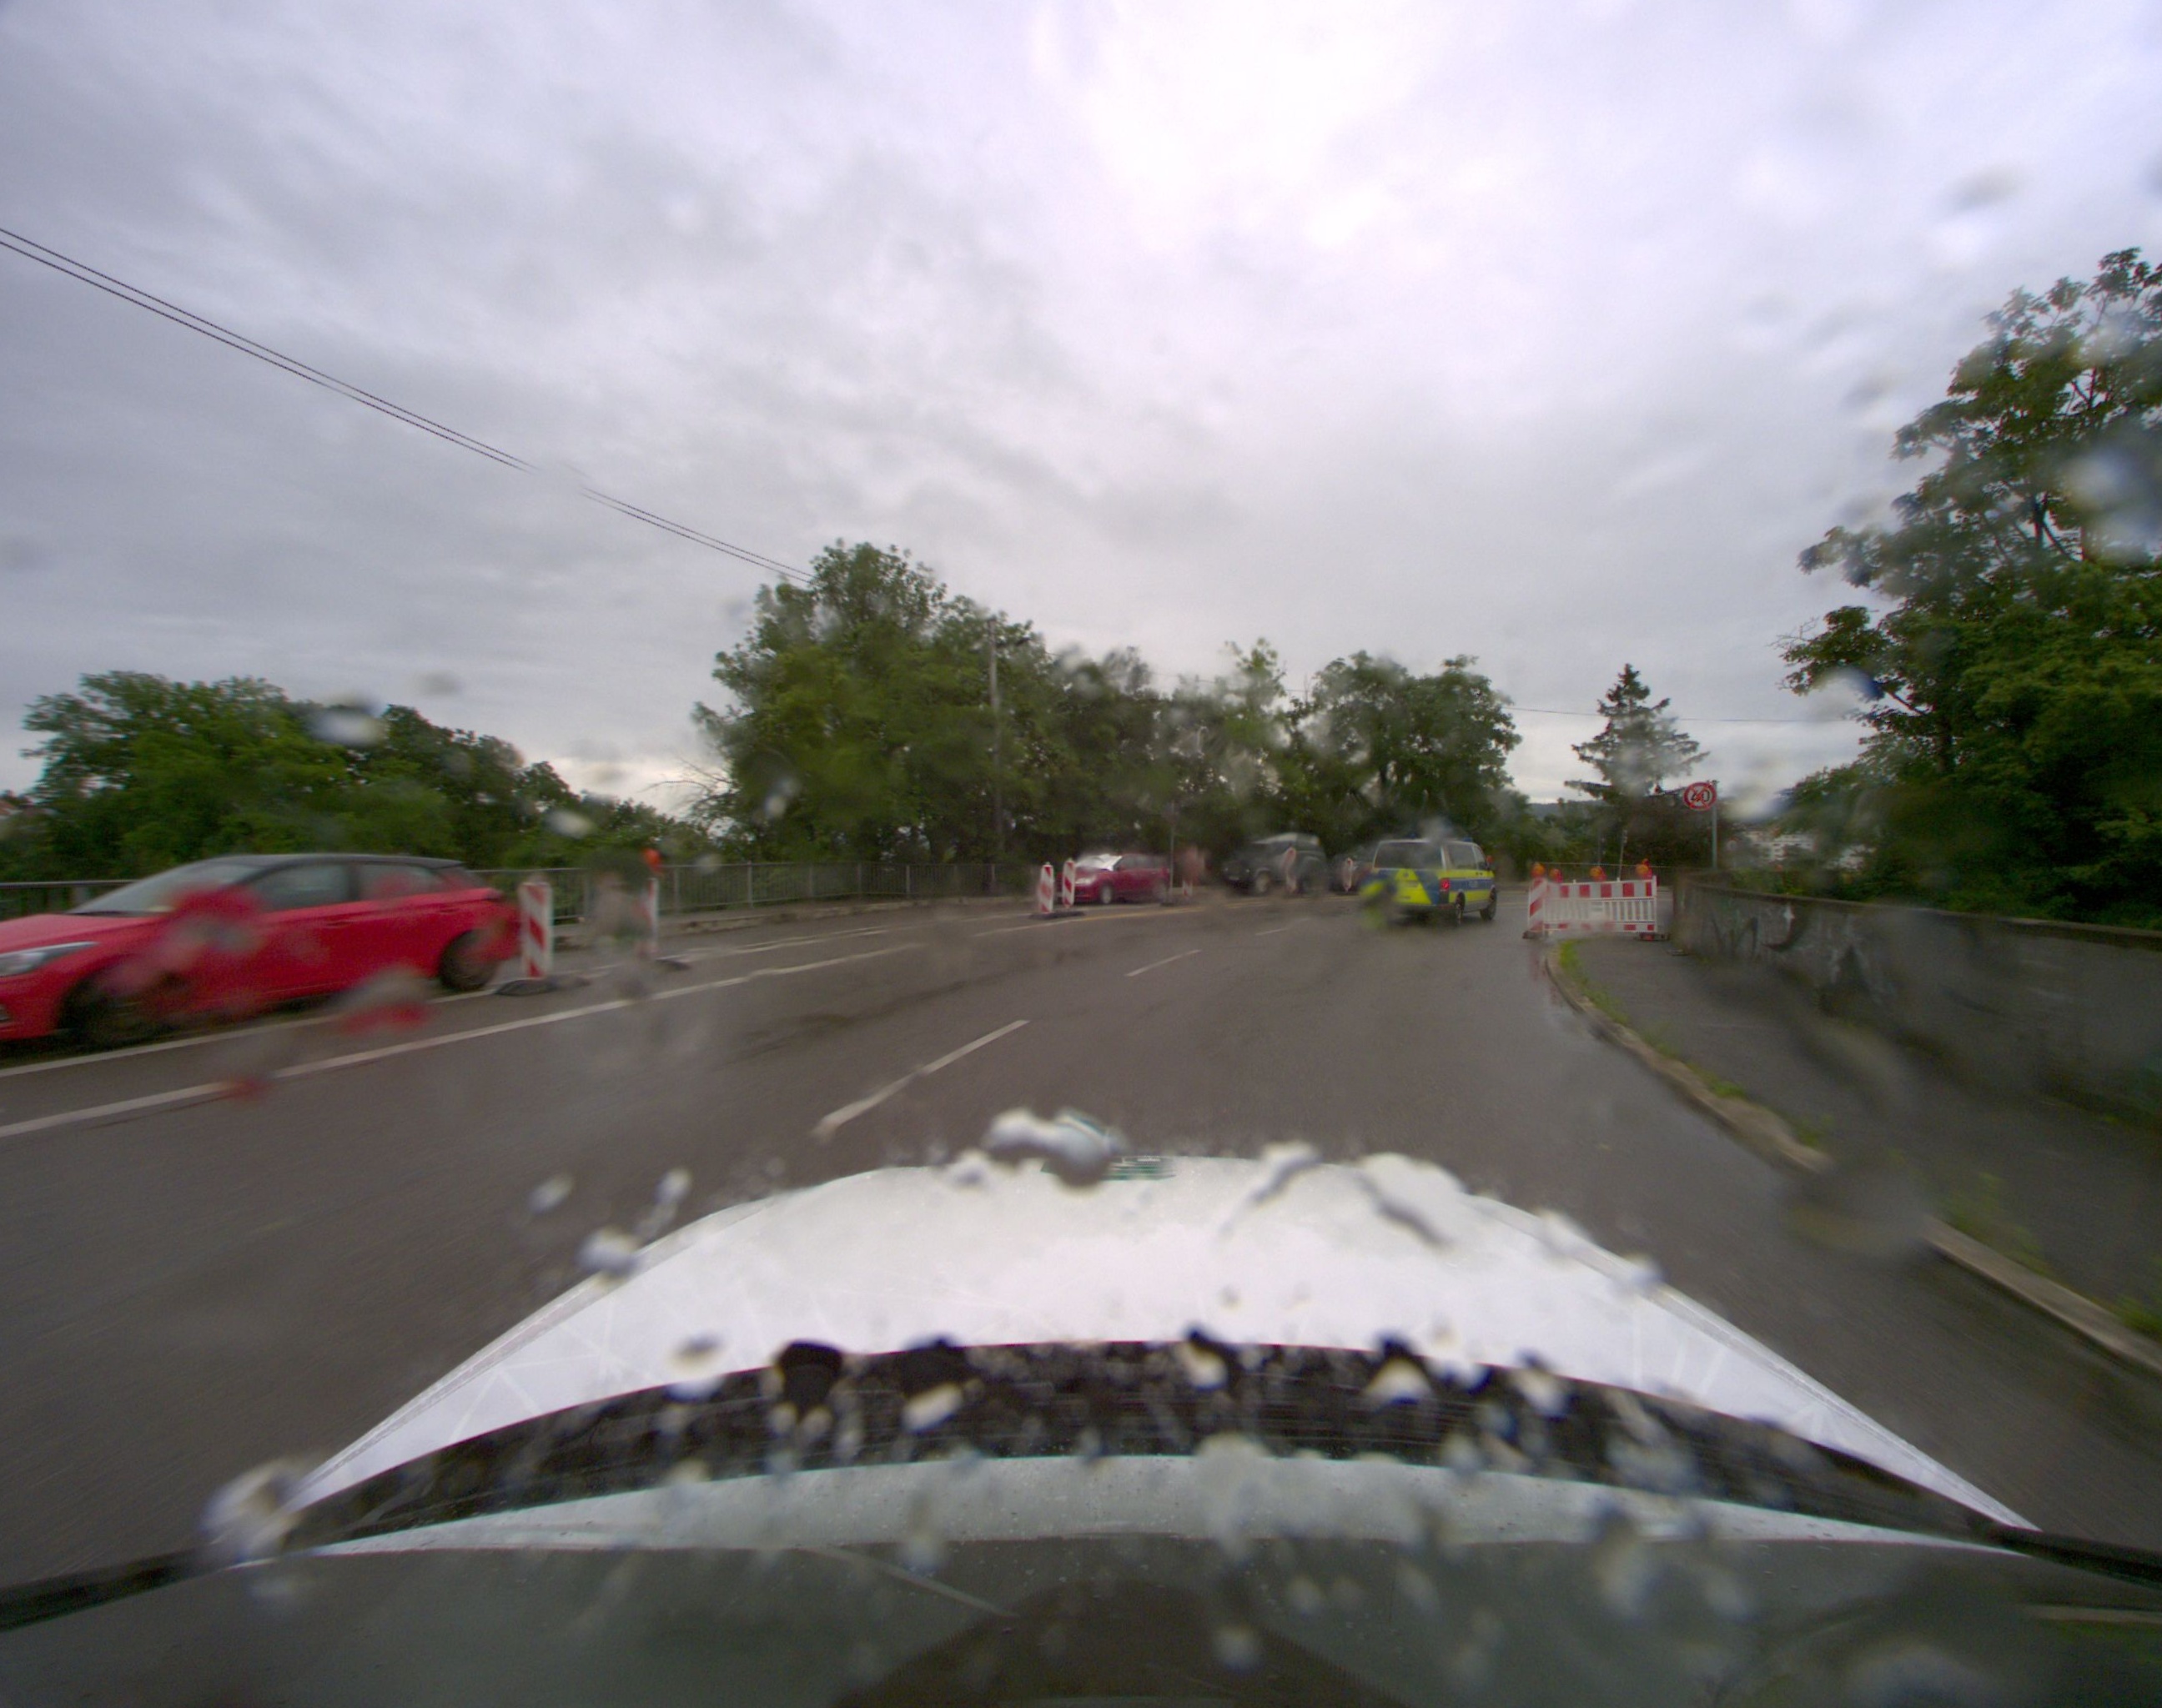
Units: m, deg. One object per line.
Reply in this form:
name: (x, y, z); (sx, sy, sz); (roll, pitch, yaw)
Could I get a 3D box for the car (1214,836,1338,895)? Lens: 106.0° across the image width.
car: (7.286, 0.379, 30.190); (4.836, 2.013, 1.850); (0, 1, -38)

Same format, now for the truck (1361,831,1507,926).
truck: (8.653, 0.548, 19.729); (1.974, 2.014, 4.764); (-1, -1, 40)

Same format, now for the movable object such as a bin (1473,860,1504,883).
movable object such as a bin: (20.333, 0.855, 40.658); (1.022, 1.106, 0.988); (0, 0, -4)

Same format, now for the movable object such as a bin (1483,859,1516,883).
movable object such as a bin: (20.343, 0.816, 39.604); (1.022, 1.106, 0.988); (2, 0, -4)

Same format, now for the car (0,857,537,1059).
car: (-7.701, 0.751, 7.643); (1.672, 1.398, 4.155); (-1, -1, 18)

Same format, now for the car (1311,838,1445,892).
car: (11.889, 0.429, 32.643); (4.951, 2.013, 1.986); (1, 1, -22)

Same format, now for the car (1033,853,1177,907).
car: (0.797, 0.697, 24.316); (1.942, 1.440, 4.349); (1, 1, 42)
